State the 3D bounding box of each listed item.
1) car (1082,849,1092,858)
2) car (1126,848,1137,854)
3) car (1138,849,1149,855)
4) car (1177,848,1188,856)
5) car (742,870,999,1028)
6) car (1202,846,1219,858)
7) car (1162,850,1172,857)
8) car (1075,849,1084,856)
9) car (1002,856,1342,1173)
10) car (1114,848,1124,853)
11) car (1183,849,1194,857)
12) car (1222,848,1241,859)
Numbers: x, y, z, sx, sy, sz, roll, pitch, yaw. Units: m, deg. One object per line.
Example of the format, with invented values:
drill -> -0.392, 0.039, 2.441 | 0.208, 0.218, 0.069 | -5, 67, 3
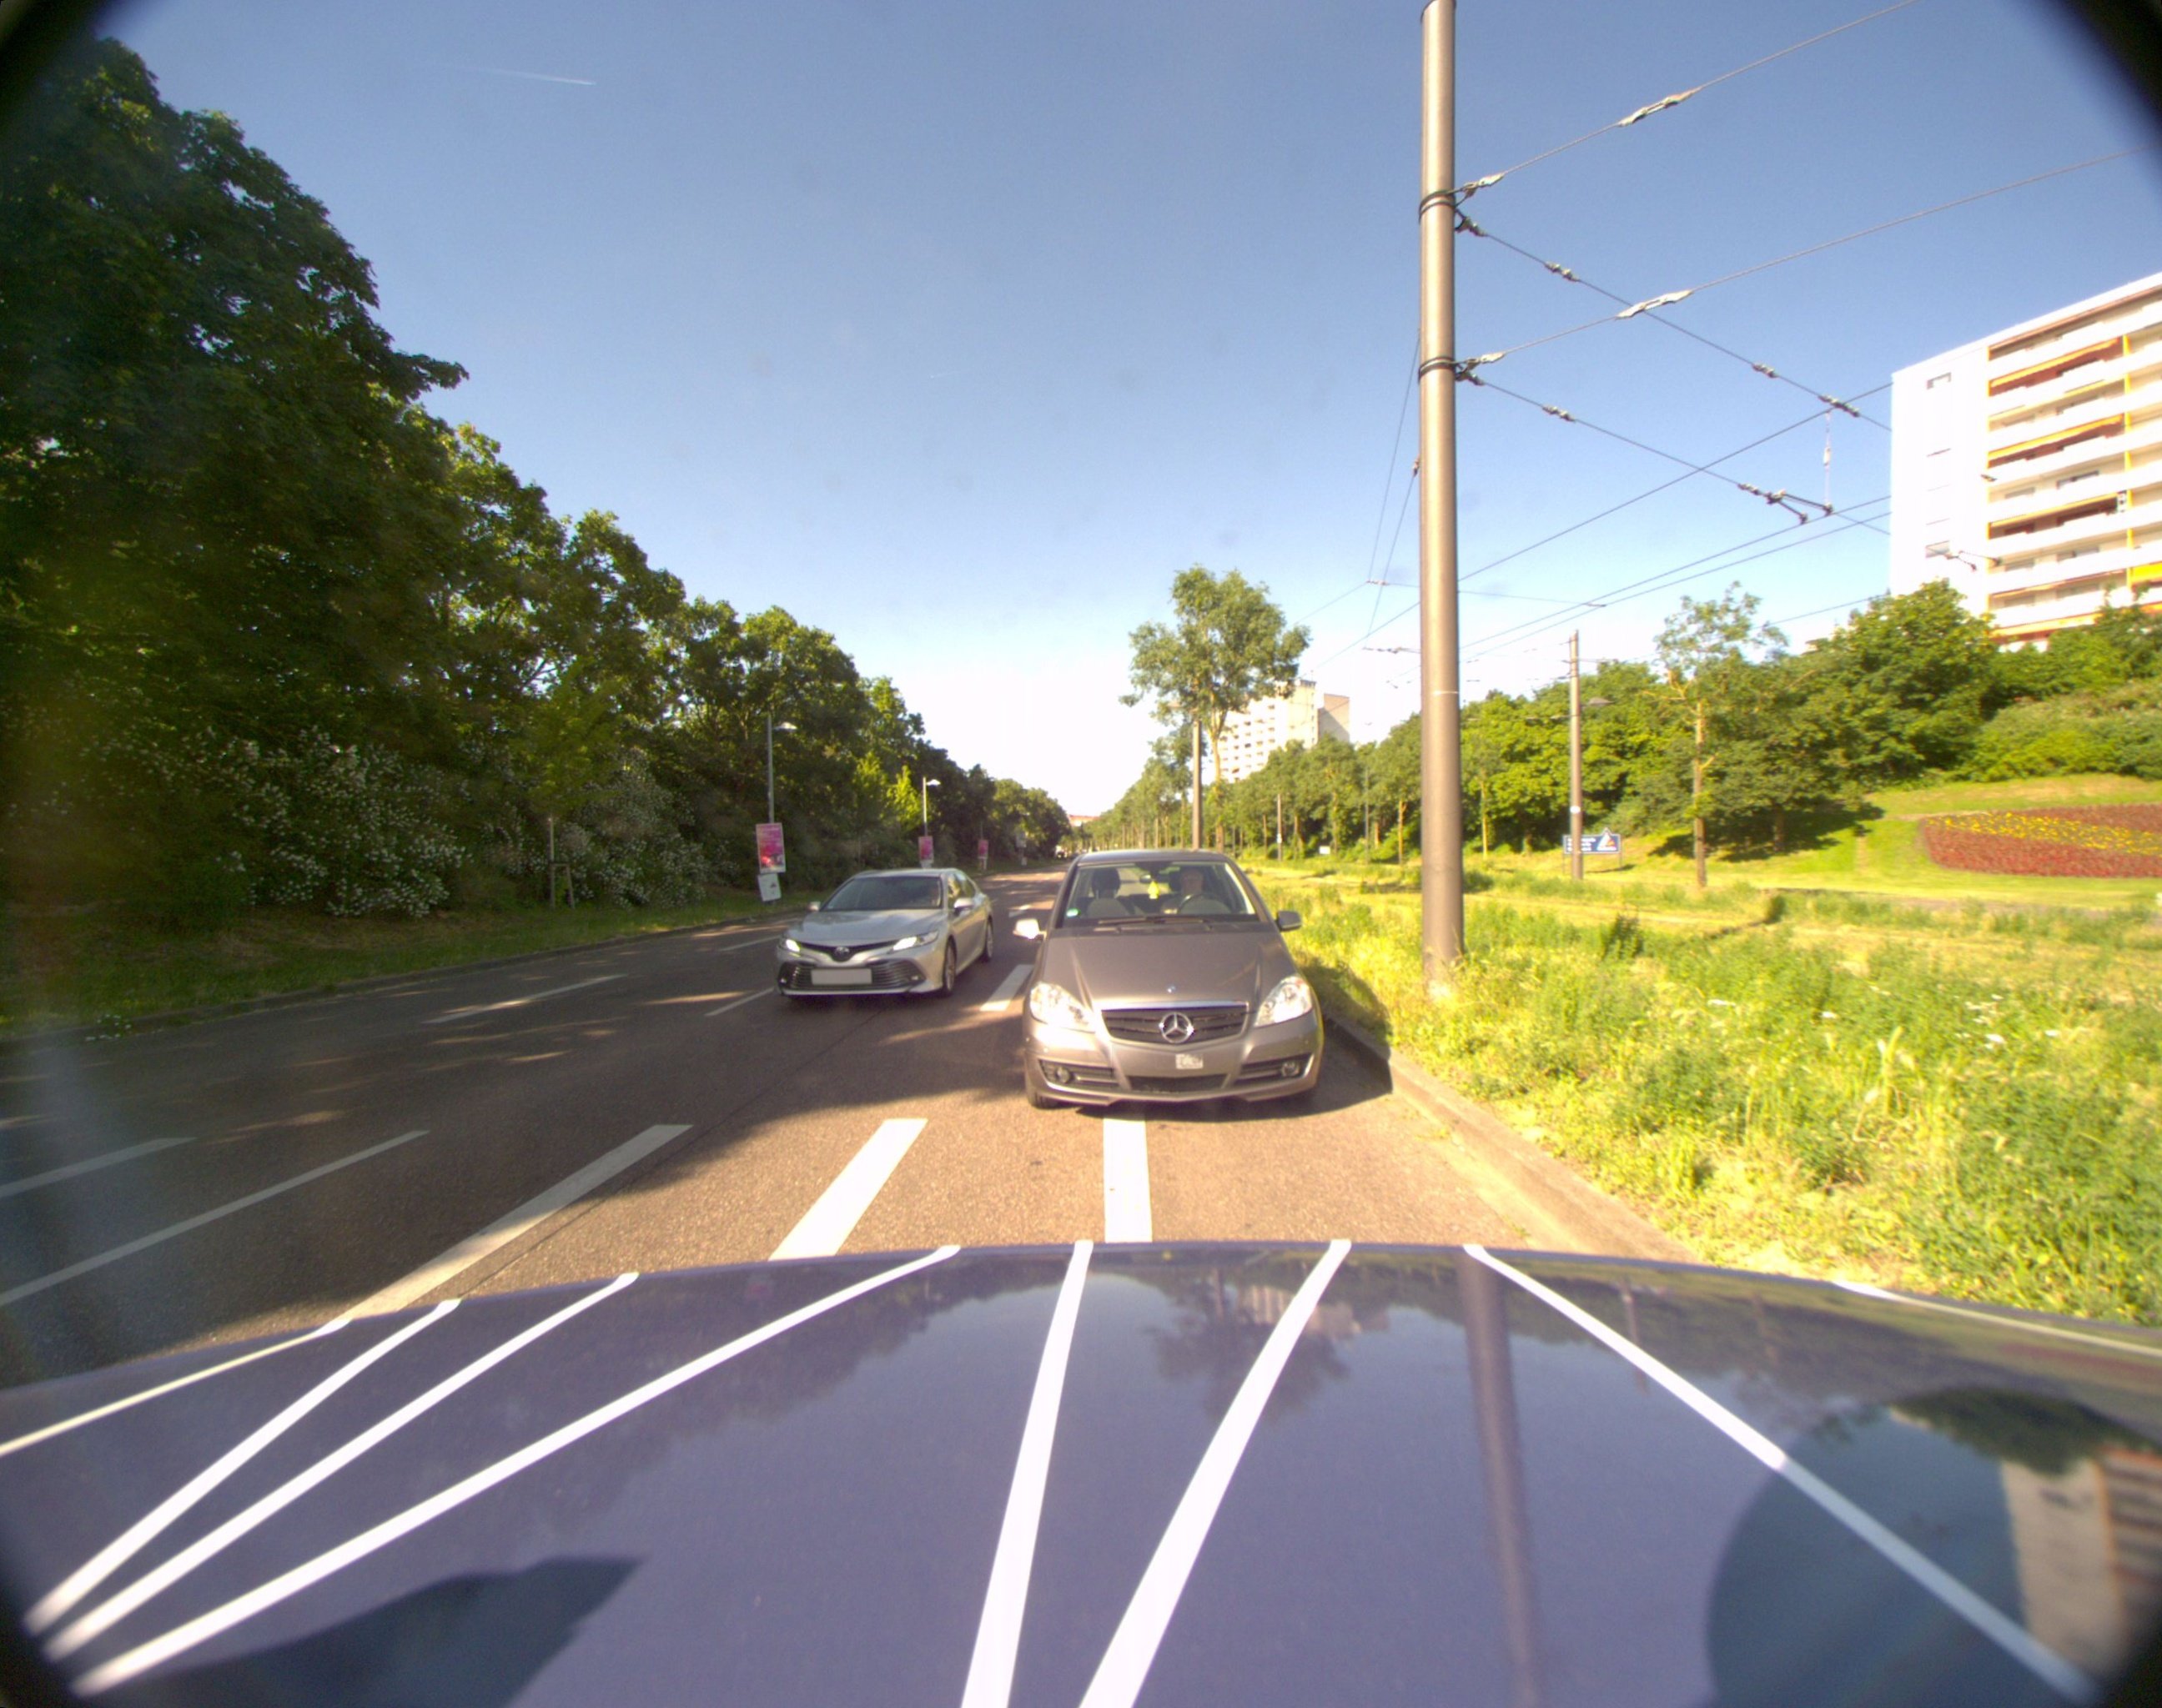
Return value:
car -> 1.312, -0.106, 155.037 | 1.998, 1.702, 4.000 | -1, 0, 1
car -> 14.041, -0.822, 211.331 | 1.801, 1.408, 4.305 | -1, 0, -11
car -> 14.656, -0.473, 177.431 | 1.800, 1.408, 4.308 | -1, 0, -5
car -> 18.597, -0.395, 139.289 | 1.693, 1.398, 4.022 | -2, 0, 1
car -> -2.334, 0.989, 9.807 | 1.875, 1.428, 4.594 | -1, 0, 2
car -> 21.788, -0.313, 127.917 | 1.998, 1.955, 4.907 | -1, 0, 1
car -> 19.140, -0.183, 168.647 | 1.792, 1.499, 4.241 | -1, 0, 2
car -> -0.420, -0.341, 182.752 | 1.998, 1.702, 4.000 | -1, 0, 1
car -> 0.505, 0.851, 5.921 | 1.759, 1.612, 3.880 | -1, 0, 1
car -> 11.266, -0.916, 226.312 | 1.801, 1.408, 4.305 | -1, 0, -11
car -> 20.779, -0.219, 147.409 | 1.780, 1.368, 4.001 | -1, 0, 3
car -> 22.060, -0.122, 111.738 | 1.998, 1.565, 4.106 | -1, 0, 1
